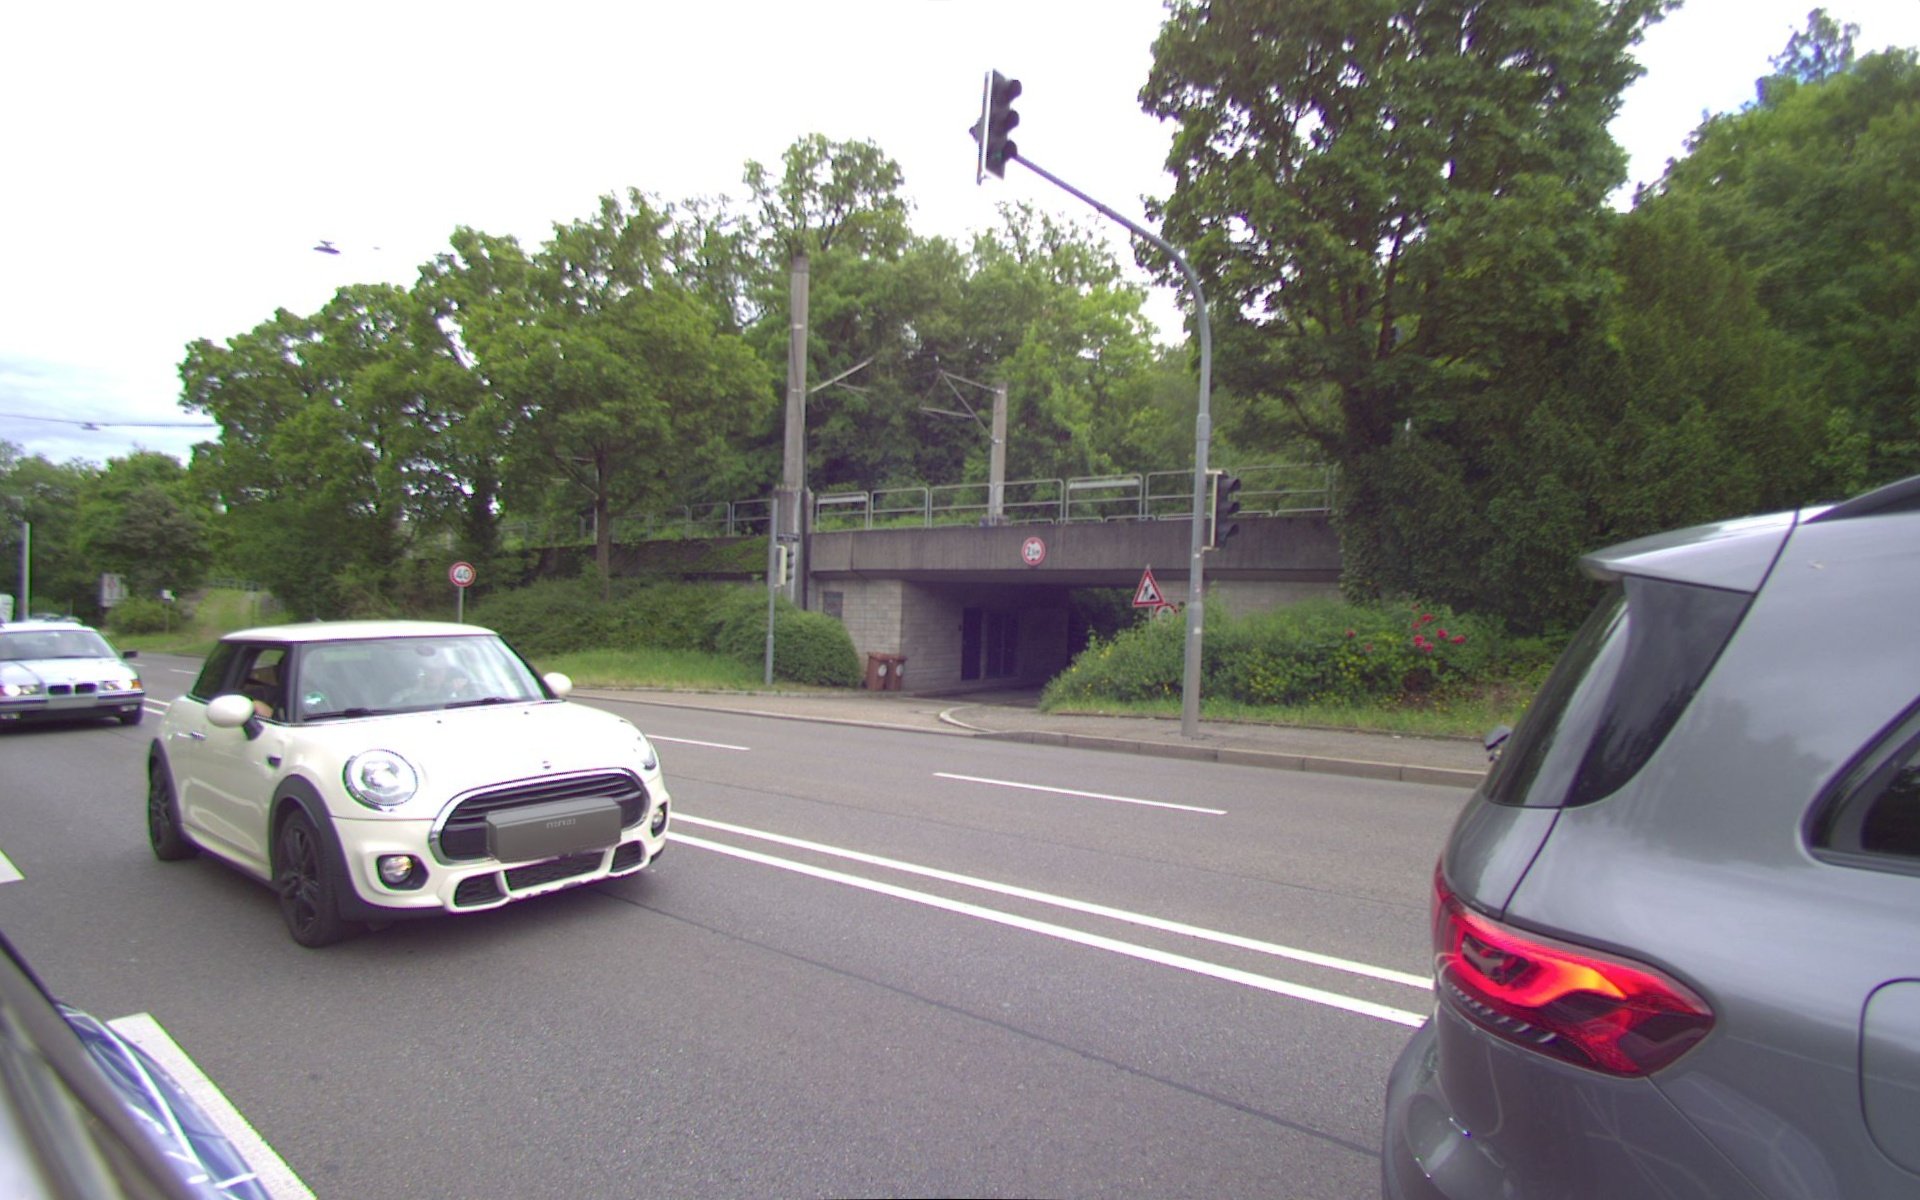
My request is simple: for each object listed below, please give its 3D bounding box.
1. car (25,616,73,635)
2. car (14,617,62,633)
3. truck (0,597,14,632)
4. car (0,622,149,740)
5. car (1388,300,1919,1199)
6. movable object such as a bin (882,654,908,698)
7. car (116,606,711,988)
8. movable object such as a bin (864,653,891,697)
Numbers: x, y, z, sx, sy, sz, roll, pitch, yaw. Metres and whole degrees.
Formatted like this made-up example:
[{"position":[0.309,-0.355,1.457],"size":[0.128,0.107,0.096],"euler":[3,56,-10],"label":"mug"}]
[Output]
[{"position":[-86.363,2.431,96.003],"size":[1.823,1.664,4.371],"euler":[2,-3,-19],"label":"car"},{"position":[-89.770,2.476,98.576],"size":[1.727,1.372,4.021],"euler":[4,-4,-15],"label":"car"},{"position":[-87.153,1.185,89.511],"size":[2.164,3.180,6.670],"euler":[2,-3,-17],"label":"truck"},{"position":[-12.804,1.020,14.029],"size":[4.179,1.401,1.643],"euler":[-1,-1,40],"label":"car"},{"position":[2.764,0.540,0.514],"size":[4.353,1.664,1.831],"euler":[-1,-1,40],"label":"car"},{"position":[-1.635,1.904,25.427],"size":[0.503,1.071,0.414],"euler":[-1,-3,36],"label":"movable object such as a bin"},{"position":[-3.215,0.773,5.658],"size":[3.729,1.434,1.667],"euler":[-1,-1,40],"label":"car"},{"position":[-2.031,1.834,24.868],"size":[0.503,1.071,0.414],"euler":[-1,-3,36],"label":"movable object such as a bin"}]
